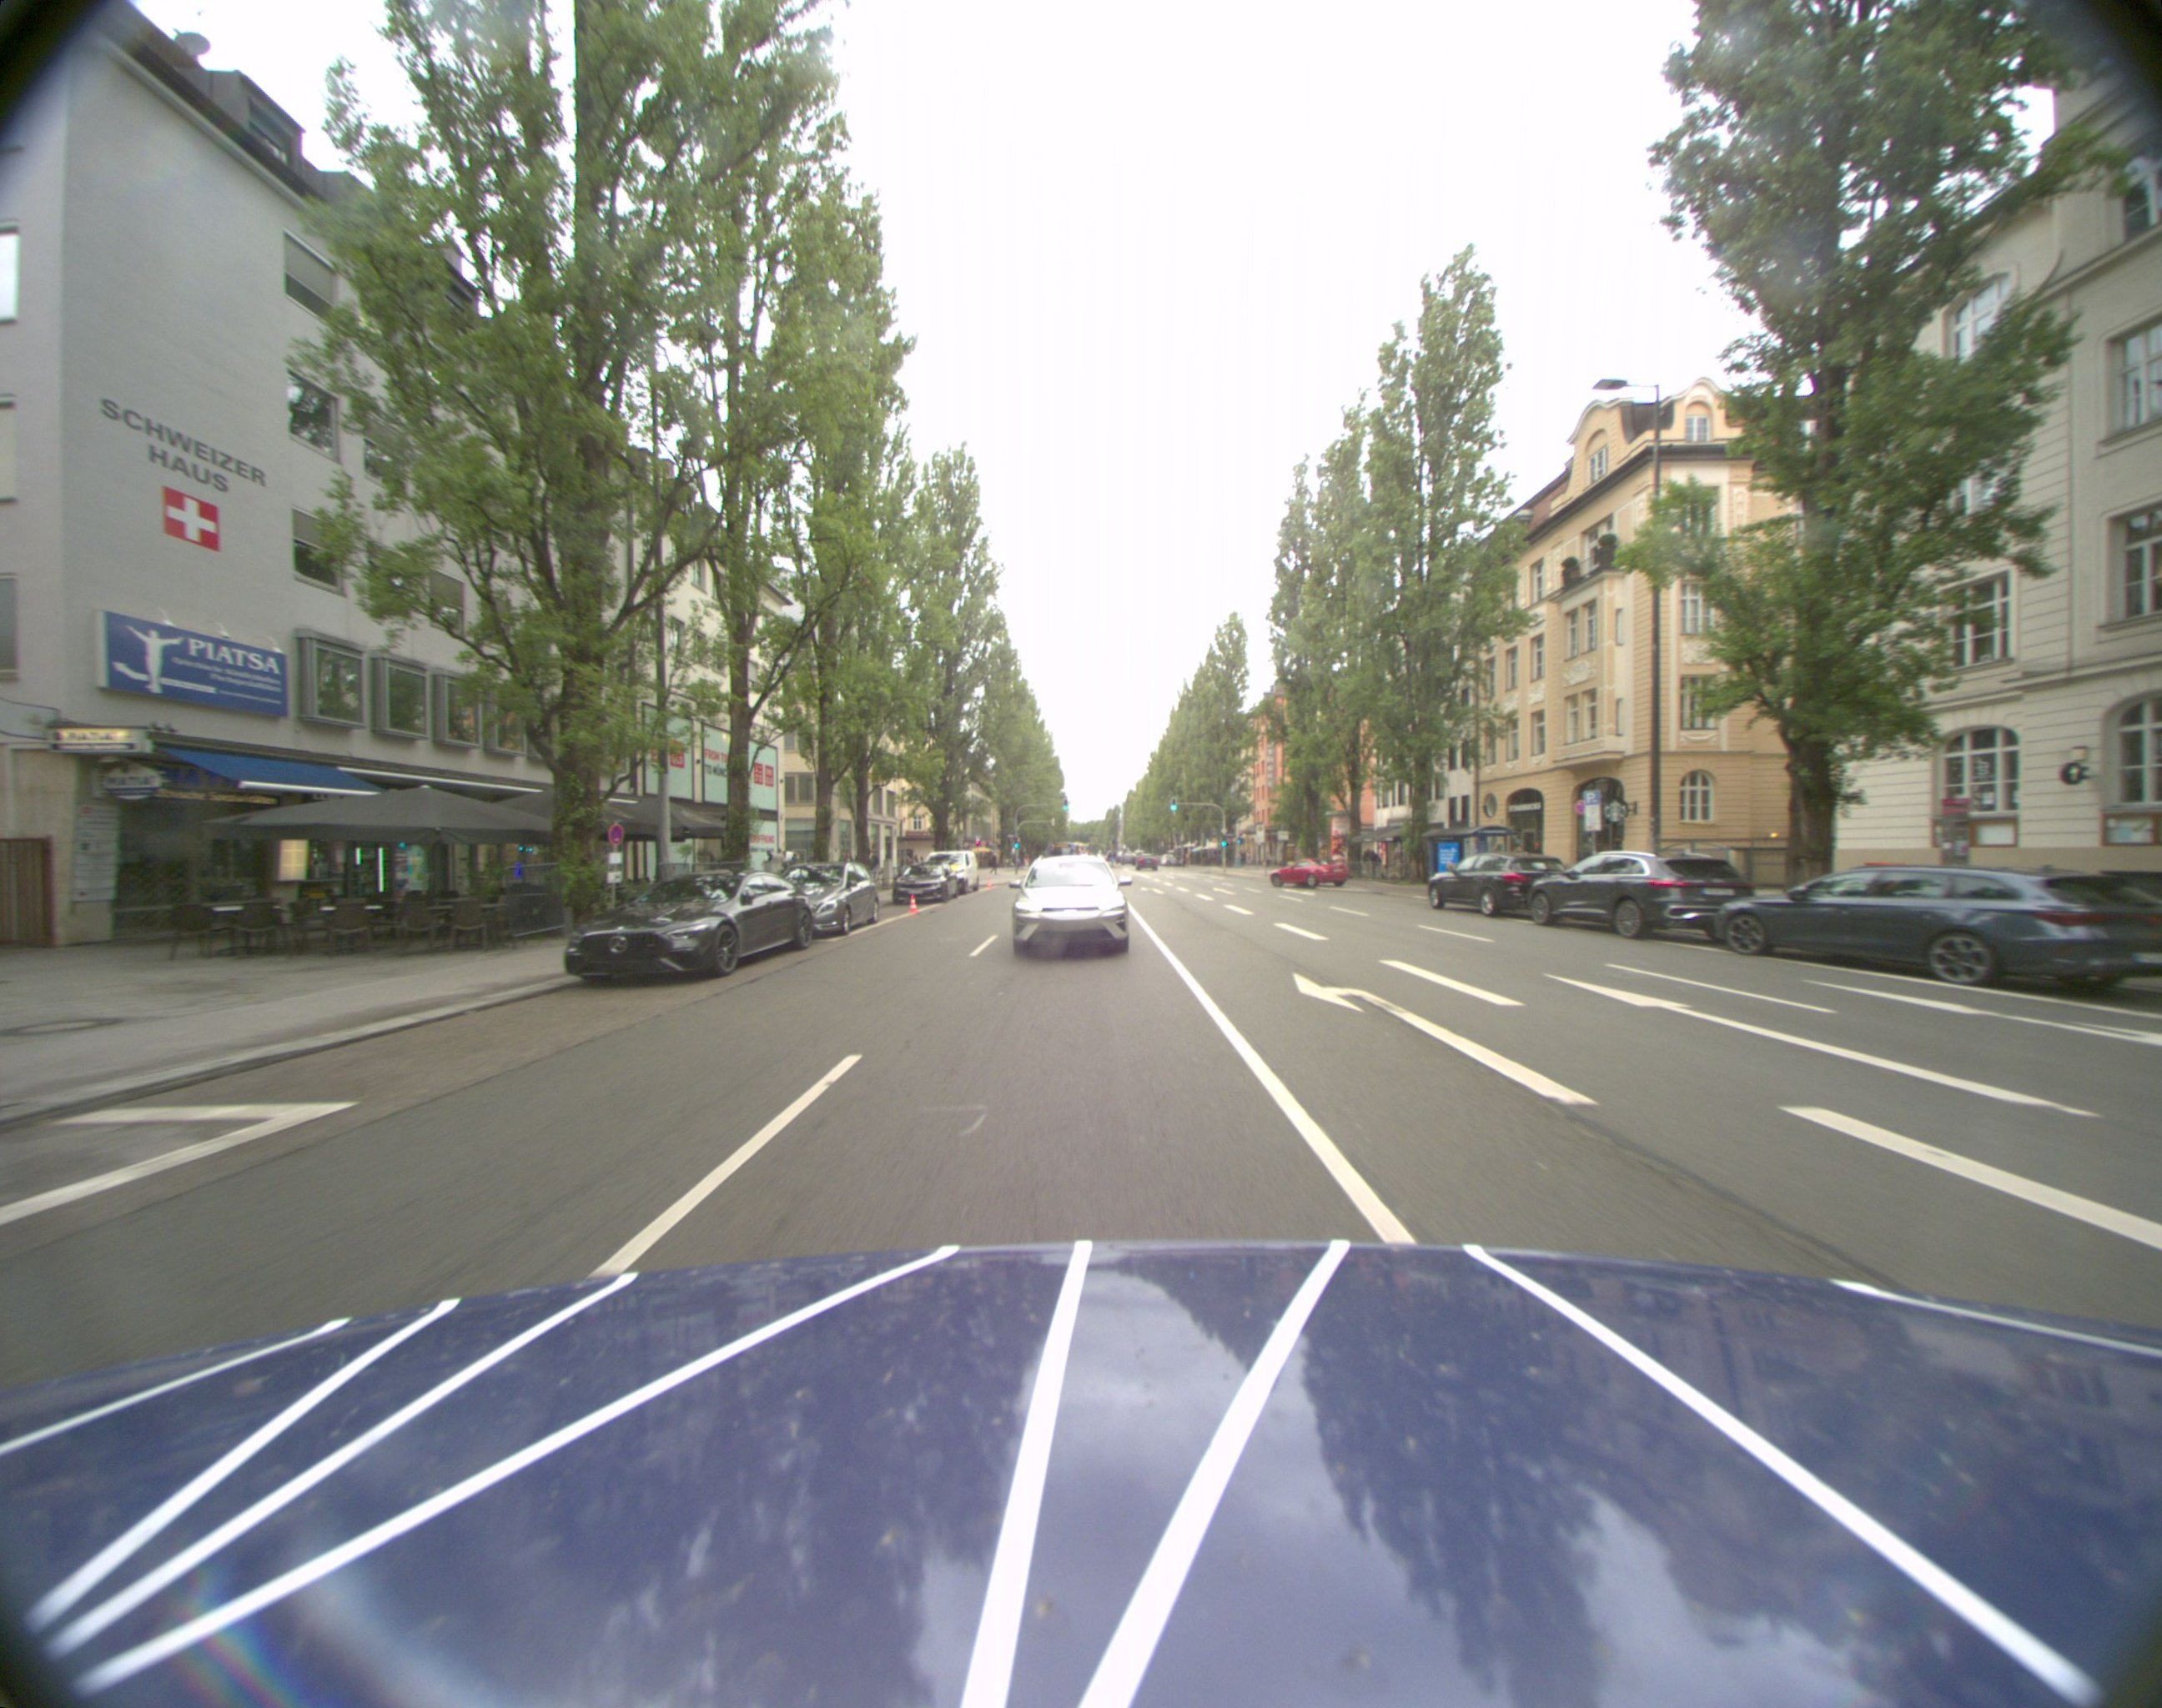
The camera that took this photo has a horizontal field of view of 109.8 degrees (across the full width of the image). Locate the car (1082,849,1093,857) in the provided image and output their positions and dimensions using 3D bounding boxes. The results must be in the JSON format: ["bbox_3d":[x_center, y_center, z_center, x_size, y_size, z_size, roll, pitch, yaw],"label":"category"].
[{"bbox_3d":[1.273,-0.230,154.317,2.052,1.671,4.585,1,0,0],"label":"car"}]

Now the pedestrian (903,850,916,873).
[{"bbox_3d":[-13.616,0.573,60.307,0.820,1.807,0.890,-1,1,-1],"label":"pedestrian"}]

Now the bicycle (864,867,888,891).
[{"bbox_3d":[-9.401,1.155,34.931,0.365,1.032,1.731,-1,0,8],"label":"bicycle"}]

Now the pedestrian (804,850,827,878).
[{"bbox_3d":[-16.159,0.619,46.265,0.985,1.664,0.827,0,1,25],"label":"pedestrian"}]

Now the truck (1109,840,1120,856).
[{"bbox_3d":[8.085,-1.541,183.532,2.469,3.649,8.438,-1,1,1],"label":"truck"}]

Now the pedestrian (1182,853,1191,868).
[{"bbox_3d":[12.566,0.745,90.540,0.736,1.785,0.994,-2,1,19],"label":"pedestrian"}]

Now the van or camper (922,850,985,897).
[{"bbox_3d":[-5.513,0.799,33.452,1.873,1.872,4.902,-1,0,0],"label":"van or camper"}]

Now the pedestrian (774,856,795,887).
[{"bbox_3d":[-16.669,0.963,42.734,0.752,1.708,0.963,0,1,1],"label":"pedestrian"}]

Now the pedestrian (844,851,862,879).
[{"bbox_3d":[-13.771,0.662,45.814,0.752,1.667,0.963,0,1,2],"label":"pedestrian"}]

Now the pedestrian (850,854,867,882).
[{"bbox_3d":[-14.127,0.889,48.315,0.752,1.748,0.859,-1,3,2],"label":"pedestrian"}]

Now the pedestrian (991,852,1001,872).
[{"bbox_3d":[-7.426,0.684,66.496,0.710,1.748,0.752,-1,1,2],"label":"pedestrian"}]

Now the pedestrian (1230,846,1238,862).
[{"bbox_3d":[17.187,0.017,85.162,0.726,1.761,0.778,-1,1,2],"label":"pedestrian"}]

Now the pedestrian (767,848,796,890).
[{"bbox_3d":[-13.287,0.670,33.712,0.828,1.830,1.099,-1,1,1],"label":"pedestrian"}]

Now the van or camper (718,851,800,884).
[{"bbox_3d":[-19.491,0.801,46.133,4.113,1.856,1.898,-2,1,4],"label":"van or camper"}]

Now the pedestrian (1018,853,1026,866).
[{"bbox_3d":[-6.894,0.634,88.995,0.767,1.509,0.620,2,4,45],"label":"pedestrian"}]

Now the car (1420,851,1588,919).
[{"bbox_3d":[11.105,0.727,20.398,1.825,1.608,4.714,0,0,-1],"label":"car"}]

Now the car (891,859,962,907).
[{"bbox_3d":[-5.487,0.978,27.478,1.724,1.434,4.353,-3,0,-1],"label":"car"}]

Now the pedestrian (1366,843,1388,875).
[{"bbox_3d":[16.283,0.259,41.870,0.908,1.734,0.820,-2,2,6],"label":"pedestrian"}]

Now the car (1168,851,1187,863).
[{"bbox_3d":[12.478,0.352,98.438,1.707,1.430,4.589,1,1,-1],"label":"car"}]

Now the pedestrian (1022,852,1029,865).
[{"bbox_3d":[-6.674,0.527,91.157,0.767,1.600,0.864,-1,1,-3],"label":"pedestrian"}]

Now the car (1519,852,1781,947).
[{"bbox_3d":[11.001,0.777,15.236,1.807,1.585,4.630,0,0,1],"label":"car"}]

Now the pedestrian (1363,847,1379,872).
[{"bbox_3d":[20.143,0.390,52.805,0.729,1.730,0.942,-2,1,0],"label":"pedestrian"}]

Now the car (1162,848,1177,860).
[{"bbox_3d":[12.327,-0.008,106.271,1.707,1.574,4.096,-1,0,1],"label":"car"}]

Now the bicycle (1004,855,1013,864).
[{"bbox_3d":[-9.095,0.641,95.433,0.405,1.064,1.813,-6,0,16],"label":"bicycle"}]

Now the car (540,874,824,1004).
[{"bbox_3d":[-5.703,1.105,11.727,1.883,1.424,4.803,0,0,-1],"label":"car"}]

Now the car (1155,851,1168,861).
[{"bbox_3d":[11.787,0.269,111.415,1.497,1.373,4.186,1,1,0],"label":"car"}]

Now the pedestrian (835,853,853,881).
[{"bbox_3d":[-14.585,0.770,46.771,0.752,1.708,0.963,-1,1,2],"label":"pedestrian"}]

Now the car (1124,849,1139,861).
[{"bbox_3d":[7.219,0.064,109.529,1.918,1.671,4.585,1,0,0],"label":"car"}]

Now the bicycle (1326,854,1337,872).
[{"bbox_3d":[16.086,0.568,48.796,0.507,1.082,1.812,-2,1,24],"label":"bicycle"}]

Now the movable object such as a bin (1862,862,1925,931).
[{"bbox_3d":[15.997,0.821,14.967,0.606,1.308,0.586,-1,1,1],"label":"movable object such as a bin"}]

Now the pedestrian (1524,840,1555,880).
[{"bbox_3d":[21.121,0.277,35.007,0.802,1.777,0.912,-2,1,1],"label":"pedestrian"}]

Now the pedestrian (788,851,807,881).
[{"bbox_3d":[-15.757,0.678,42.308,0.653,1.653,0.963,-1,1,1],"label":"pedestrian"}]

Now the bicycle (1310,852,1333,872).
[{"bbox_3d":[15.976,0.517,50.509,1.958,1.282,0.507,-3,2,-42],"label":"bicycle"}]

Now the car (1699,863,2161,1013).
[{"bbox_3d":[11.123,0.903,10.129,1.689,1.416,4.686,1,0,-4],"label":"car"}]

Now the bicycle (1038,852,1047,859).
[{"bbox_3d":[-7.996,0.396,157.171,0.829,1.403,2.594,-2,0,-25],"label":"bicycle"}]

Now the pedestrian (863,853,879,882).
[{"bbox_3d":[-13.329,0.861,48.274,0.752,1.748,0.859,-1,3,2],"label":"pedestrian"}]

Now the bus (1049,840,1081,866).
[{"bbox_3d":[-1.758,-0.166,91.744,2.805,2.886,12.860,-1,0,3],"label":"bus"}]

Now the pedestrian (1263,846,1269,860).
[{"bbox_3d":[22.106,-0.084,90.581,0.588,1.681,0.514,-1,1,1],"label":"pedestrian"}]

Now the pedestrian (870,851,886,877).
[{"bbox_3d":[-14.110,0.671,52.793,0.820,1.807,0.890,-1,1,-1],"label":"pedestrian"}]

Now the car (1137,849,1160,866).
[{"bbox_3d":[6.597,0.353,74.806,1.940,1.614,4.336,1,0,0],"label":"car"}]

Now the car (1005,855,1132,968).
[{"bbox_3d":[-0.175,0.828,12.851,1.758,1.529,3.916,-2,0,0],"label":"car"}]

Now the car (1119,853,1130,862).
[{"bbox_3d":[7.443,0.604,130.146,1.565,1.487,3.694,0,0,0],"label":"car"}]

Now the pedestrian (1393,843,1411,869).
[{"bbox_3d":[21.732,0.108,51.447,0.845,1.734,0.954,-2,1,2],"label":"pedestrian"}]

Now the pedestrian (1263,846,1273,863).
[{"bbox_3d":[18.389,0.030,74.712,0.780,1.609,0.934,-1,1,0],"label":"pedestrian"}]

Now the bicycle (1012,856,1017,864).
[{"bbox_3d":[-8.550,0.751,98.014,0.510,1.042,1.770,0,0,-2],"label":"bicycle"}]

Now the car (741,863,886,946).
[{"bbox_3d":[-5.657,0.994,16.641,1.821,1.497,4.231,0,0,-3],"label":"car"}]

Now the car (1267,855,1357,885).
[{"bbox_3d":[10.743,0.706,35.624,1.887,1.290,4.086,-1,1,-23],"label":"car"}]

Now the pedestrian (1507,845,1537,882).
[{"bbox_3d":[20.308,0.421,35.004,0.734,1.672,0.977,-2,1,1],"label":"pedestrian"}]
